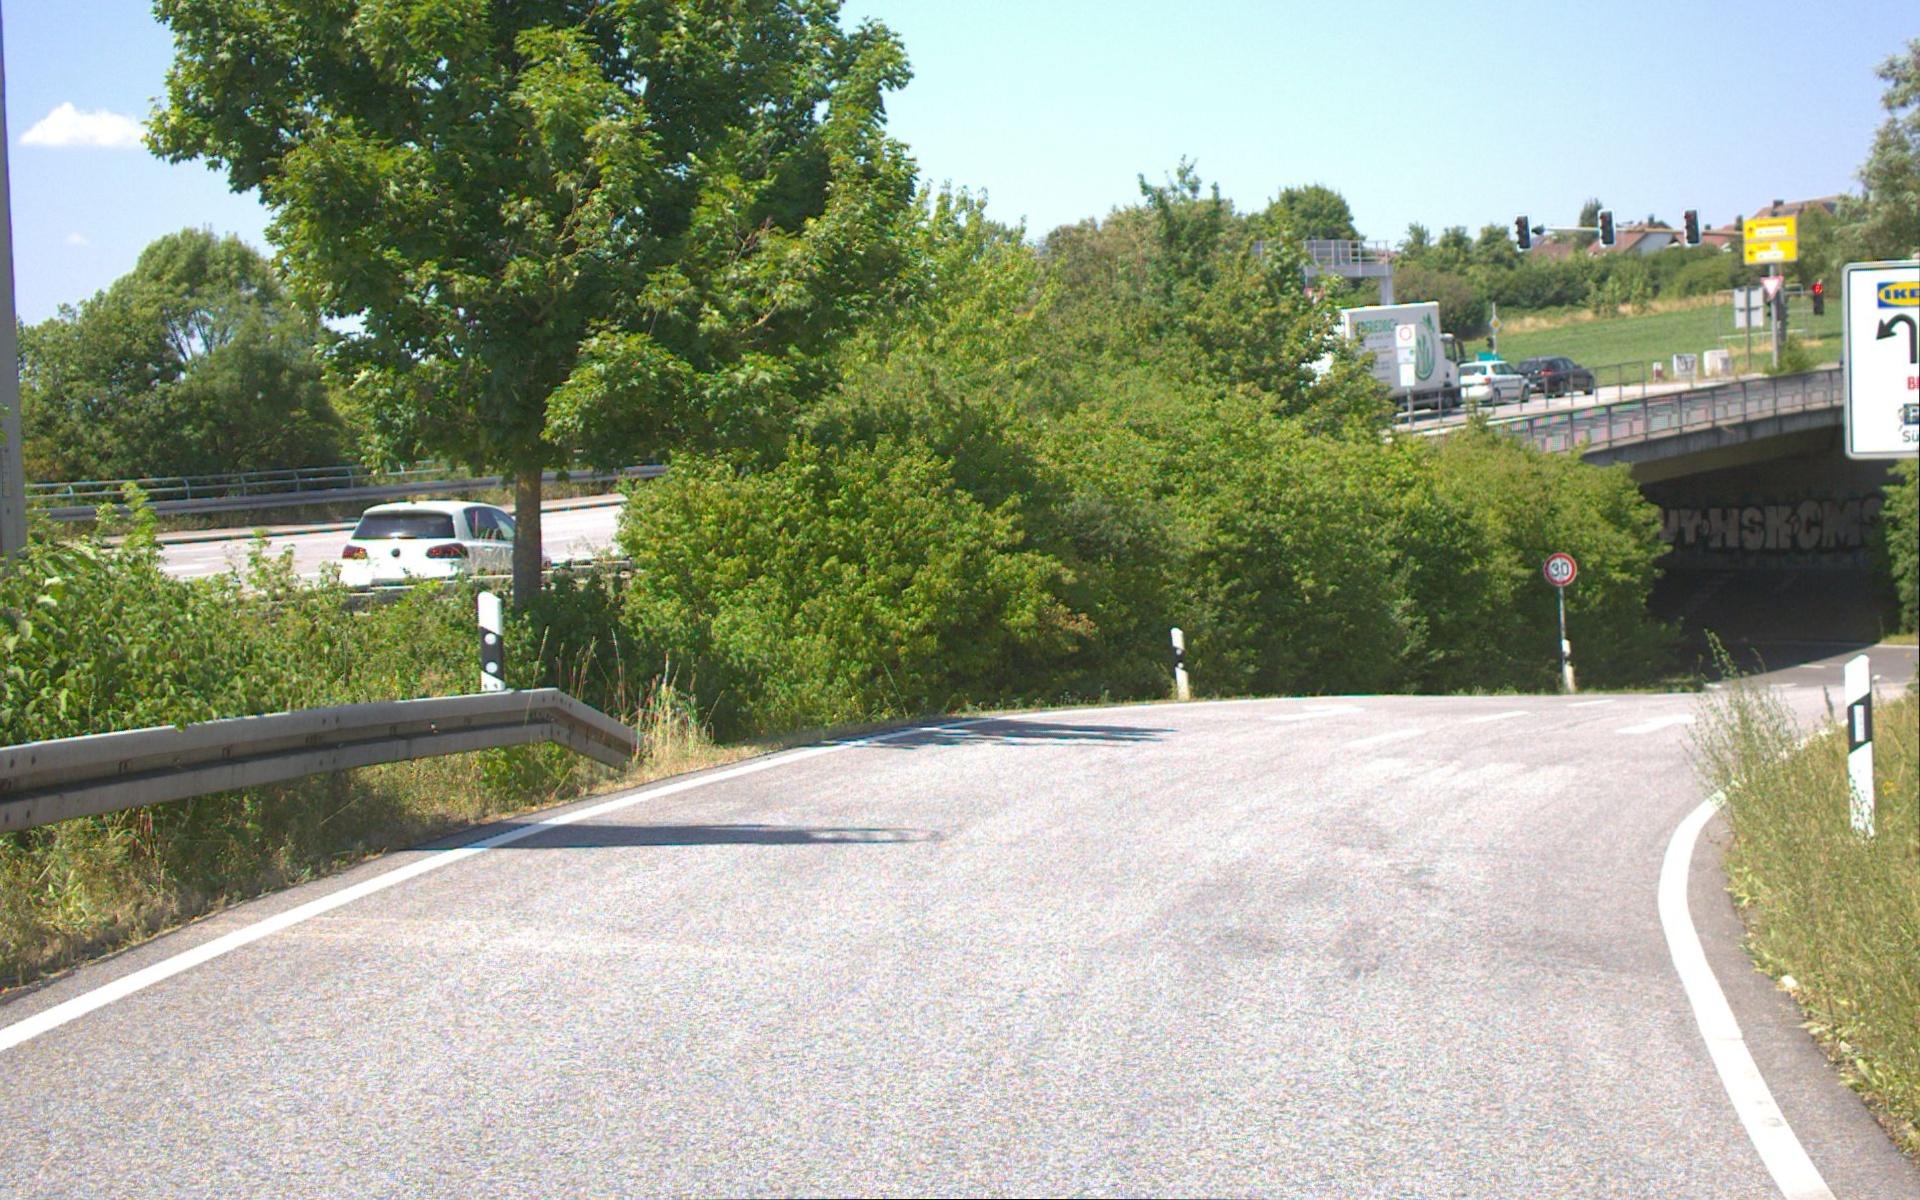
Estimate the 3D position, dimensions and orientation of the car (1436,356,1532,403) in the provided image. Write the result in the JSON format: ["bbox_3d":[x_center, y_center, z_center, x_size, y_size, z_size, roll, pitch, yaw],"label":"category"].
[{"bbox_3d":[17.421,-7.315,114.184,1.900,1.358,3.994,1,1,28],"label":"car"}]

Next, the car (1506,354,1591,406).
[{"bbox_3d":[20.644,-7.681,120.418,1.996,1.612,3.995,0,1,24],"label":"car"}]

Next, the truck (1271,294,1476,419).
[{"bbox_3d":[13.109,-7.628,108.225,3.032,3.577,8.889,-2,2,30],"label":"truck"}]

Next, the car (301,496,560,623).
[{"bbox_3d":[-6.525,-0.516,42.823,1.994,1.481,4.134,-1,1,9],"label":"car"}]
